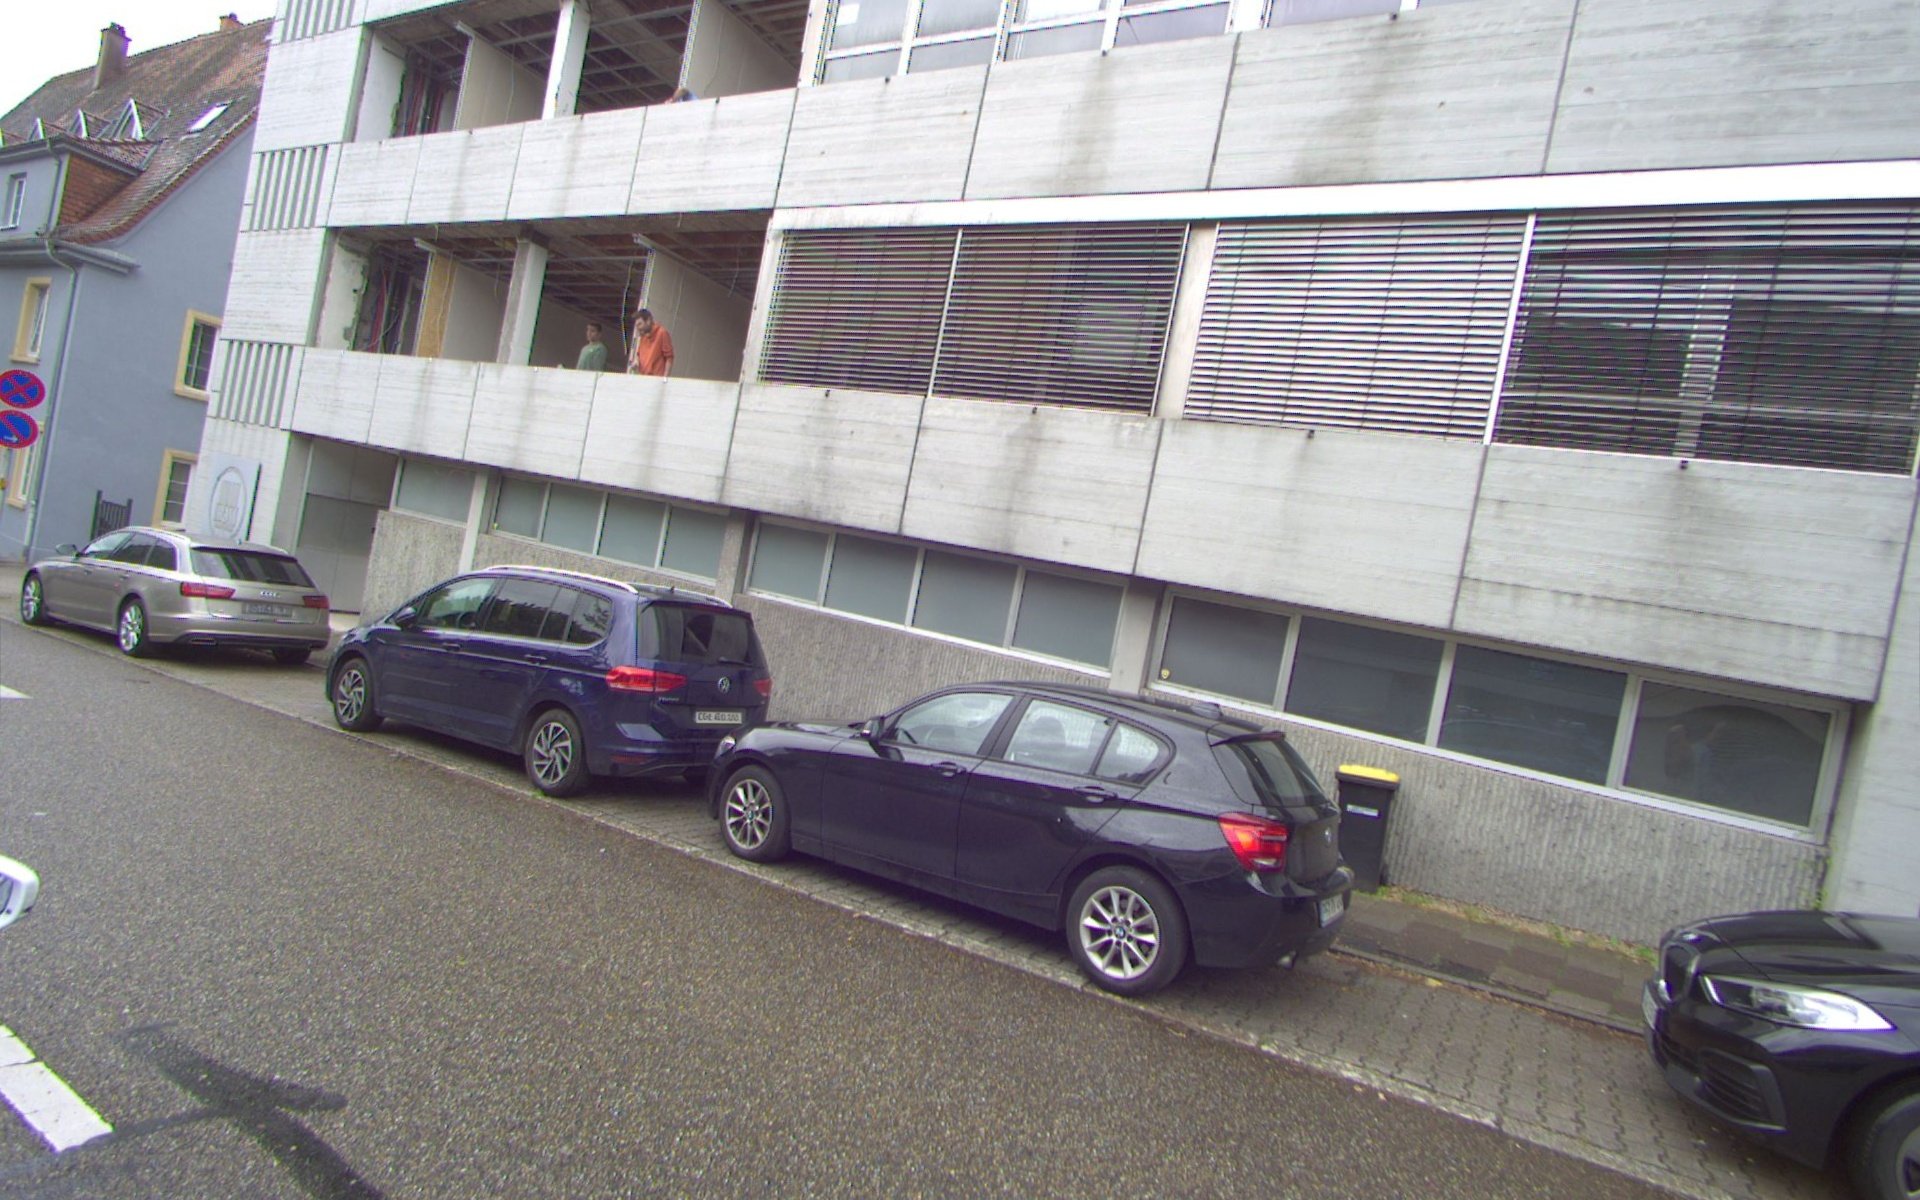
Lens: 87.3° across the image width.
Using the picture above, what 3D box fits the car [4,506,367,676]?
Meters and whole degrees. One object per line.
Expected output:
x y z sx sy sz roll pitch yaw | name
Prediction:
-9.808 -0.133 12.678 4.449 1.465 1.966 7 -1 30 | car

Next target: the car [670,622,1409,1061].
0.330 1.167 6.313 4.183 1.465 1.750 7 -1 34 | car

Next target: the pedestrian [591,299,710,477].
-4.022 -2.726 13.119 0.847 2.036 0.909 6 -2 31 | pedestrian

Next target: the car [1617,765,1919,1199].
5.082 1.773 3.536 4.367 1.452 1.998 7 -1 30 | car

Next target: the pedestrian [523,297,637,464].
-5.267 -3.012 13.968 0.847 2.036 0.909 6 -2 31 | pedestrian

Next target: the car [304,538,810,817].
-3.534 0.547 8.654 4.090 1.618 1.732 7 -1 30 | car
